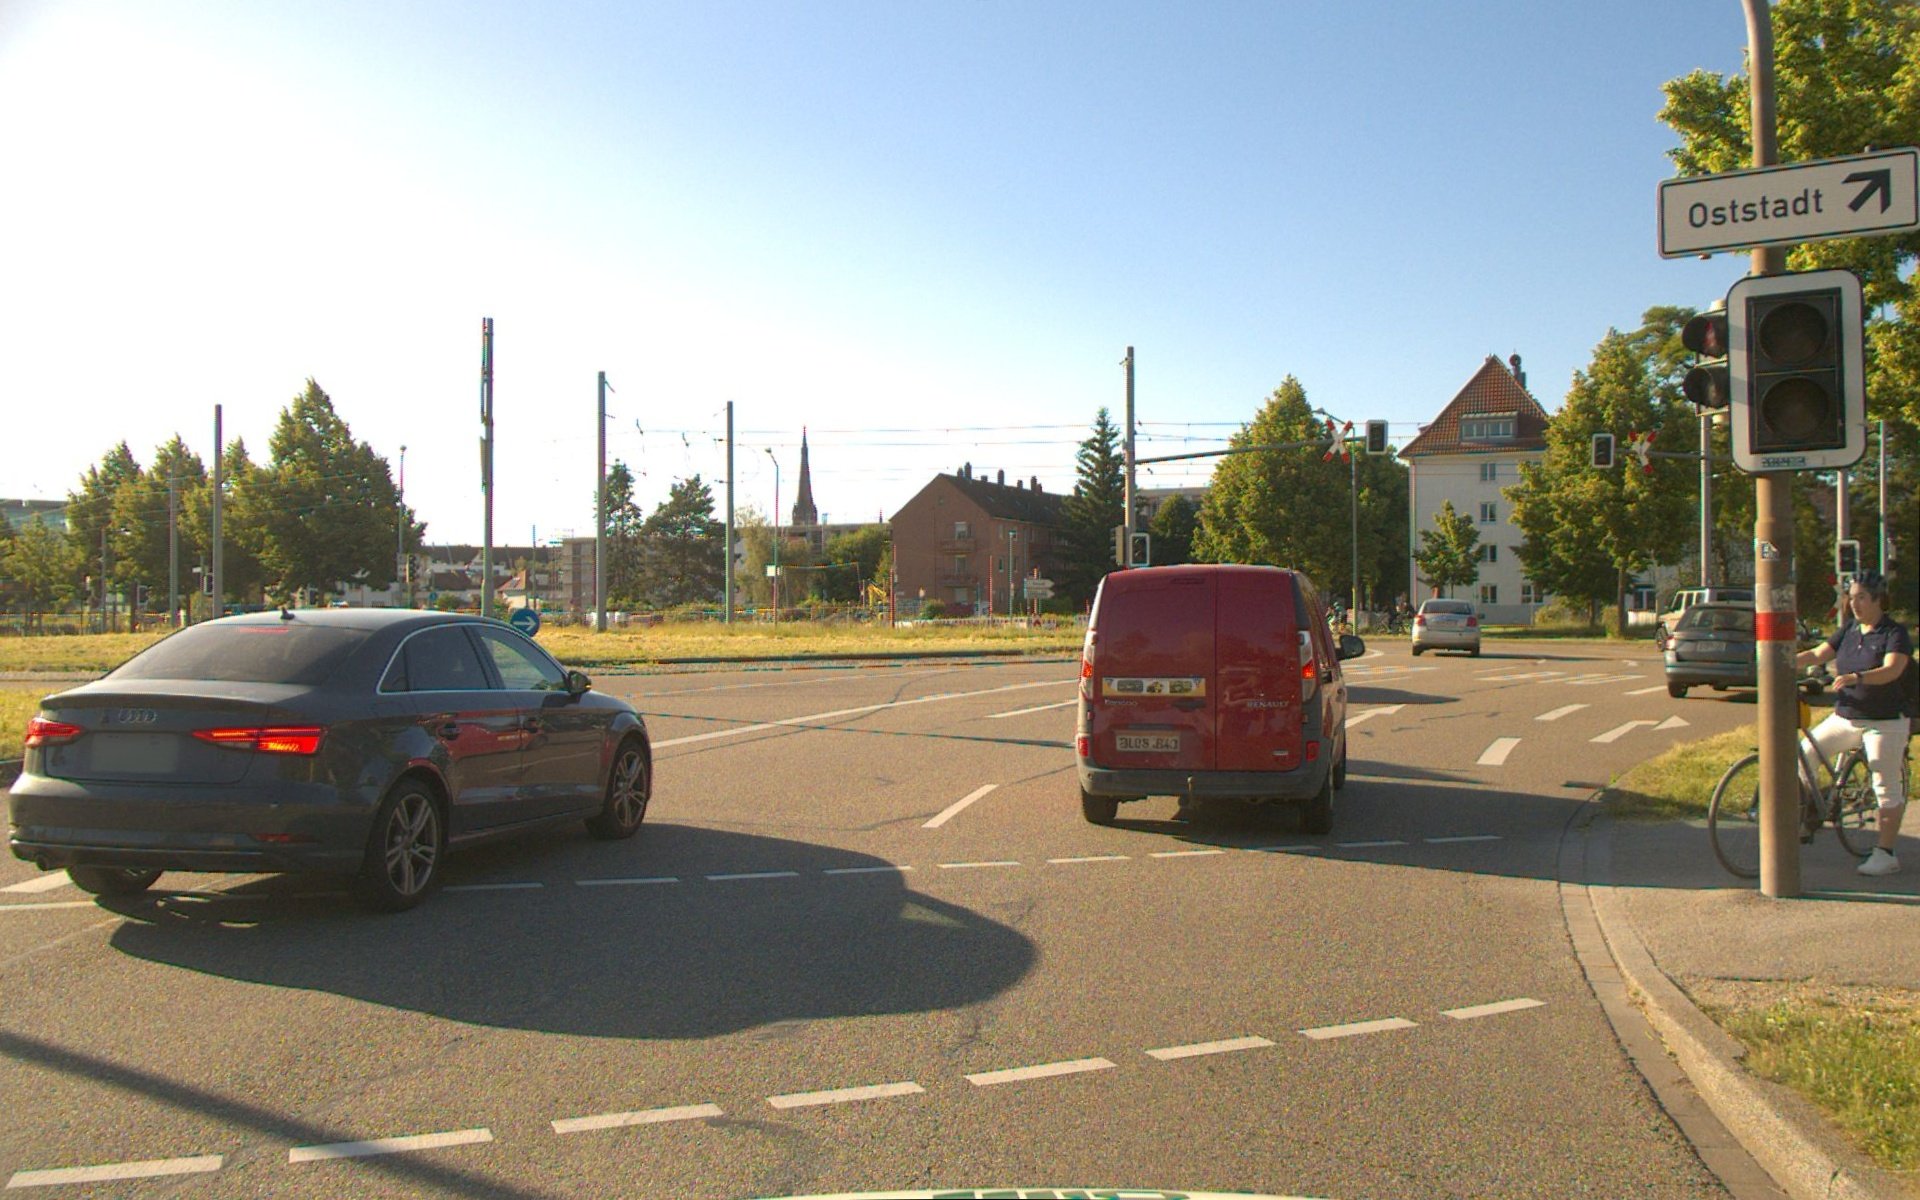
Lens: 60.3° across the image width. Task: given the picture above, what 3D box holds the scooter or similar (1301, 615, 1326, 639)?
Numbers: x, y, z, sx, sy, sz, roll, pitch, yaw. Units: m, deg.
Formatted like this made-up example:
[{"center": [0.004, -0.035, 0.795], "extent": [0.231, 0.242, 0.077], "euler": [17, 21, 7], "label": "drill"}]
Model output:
[{"center": [18.572, 1.425, 86.927], "extent": [0.441, 1.270, 1.244], "euler": [3, -4, -43], "label": "scooter or similar"}]

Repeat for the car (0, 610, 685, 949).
[{"center": [-3.137, 0.783, 9.184], "extent": [1.722, 1.404, 4.362], "euler": [0, -1, 11], "label": "car"}]

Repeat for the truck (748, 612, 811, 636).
[{"center": [-15.834, 2.127, 144.918], "extent": [2.154, 2.049, 6.333], "euler": [3, -3, -43], "label": "truck"}]

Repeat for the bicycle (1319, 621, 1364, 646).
[{"center": [19.508, 1.709, 84.562], "extent": [0.876, 1.288, 2.178], "euler": [3, -3, -39], "label": "bicycle"}]

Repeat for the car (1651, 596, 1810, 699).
[{"center": [12.085, 0.685, 25.812], "extent": [1.683, 1.461, 4.140], "euler": [-1, 0, 33], "label": "car"}]

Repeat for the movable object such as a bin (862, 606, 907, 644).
[{"center": [-5.868, 1.972, 128.009], "extent": [2.384, 2.822, 3.975], "euler": [2, -2, -21], "label": "movable object such as a bin"}]

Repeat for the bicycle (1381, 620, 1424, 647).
[{"center": [21.827, 1.661, 81.599], "extent": [0.805, 1.288, 2.191], "euler": [2, -2, -26], "label": "bicycle"}]

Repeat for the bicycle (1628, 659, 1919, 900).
[{"center": [4.950, 0.962, 9.479], "extent": [2.184, 1.175, 0.868], "euler": [-1, -2, -29], "label": "bicycle"}]

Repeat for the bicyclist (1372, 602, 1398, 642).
[{"center": [20.812, 1.083, 81.010], "extent": [0.800, 1.885, 1.017], "euler": [2, -2, -26], "label": "bicyclist"}]

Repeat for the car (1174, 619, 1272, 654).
[{"center": [12.301, 1.694, 77.646], "extent": [1.981, 1.566, 4.345], "euler": [0, 0, -39], "label": "car"}]

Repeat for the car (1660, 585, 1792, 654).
[{"center": [22.659, 0.611, 49.151], "extent": [1.955, 1.930, 4.754], "euler": [0, -1, 4], "label": "car"}]

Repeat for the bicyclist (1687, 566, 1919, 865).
[{"center": [4.924, 0.626, 9.472], "extent": [1.072, 1.589, 0.868], "euler": [-1, -2, -28], "label": "bicyclist"}]

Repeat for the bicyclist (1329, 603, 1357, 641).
[{"center": [19.229, 1.118, 83.078], "extent": [0.876, 1.885, 1.012], "euler": [3, -3, -38], "label": "bicyclist"}]

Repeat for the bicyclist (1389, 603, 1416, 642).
[{"center": [21.837, 1.124, 81.615], "extent": [0.800, 1.885, 1.017], "euler": [2, -2, -26], "label": "bicyclist"}]

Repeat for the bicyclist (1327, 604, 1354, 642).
[{"center": [19.476, 1.174, 84.617], "extent": [0.876, 1.885, 1.012], "euler": [3, -3, -38], "label": "bicyclist"}]

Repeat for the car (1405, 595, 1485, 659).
[{"center": [12.953, 0.690, 44.122], "extent": [1.951, 1.602, 4.410], "euler": [-1, 0, 17], "label": "car"}]

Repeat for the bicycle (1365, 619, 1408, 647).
[{"center": [20.842, 1.617, 80.902], "extent": [0.805, 1.288, 2.191], "euler": [2, -2, -26], "label": "bicycle"}]

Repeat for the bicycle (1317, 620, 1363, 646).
[{"center": [19.112, 1.655, 83.180], "extent": [0.876, 1.288, 2.178], "euler": [3, -3, -39], "label": "bicycle"}]

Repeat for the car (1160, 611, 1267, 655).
[{"center": [10.086, 1.283, 66.126], "extent": [1.973, 1.668, 4.363], "euler": [0, 0, -30], "label": "car"}]

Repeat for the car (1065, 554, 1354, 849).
[{"center": [2.031, 0.647, 12.507], "extent": [1.764, 1.845, 3.812], "euler": [1, 0, 14], "label": "car"}]

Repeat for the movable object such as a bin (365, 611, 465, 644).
[{"center": [-47.904, 2.405, 145.516], "extent": [7.872, 2.831, 2.895], "euler": [1, -1, -44], "label": "movable object such as a bin"}]
